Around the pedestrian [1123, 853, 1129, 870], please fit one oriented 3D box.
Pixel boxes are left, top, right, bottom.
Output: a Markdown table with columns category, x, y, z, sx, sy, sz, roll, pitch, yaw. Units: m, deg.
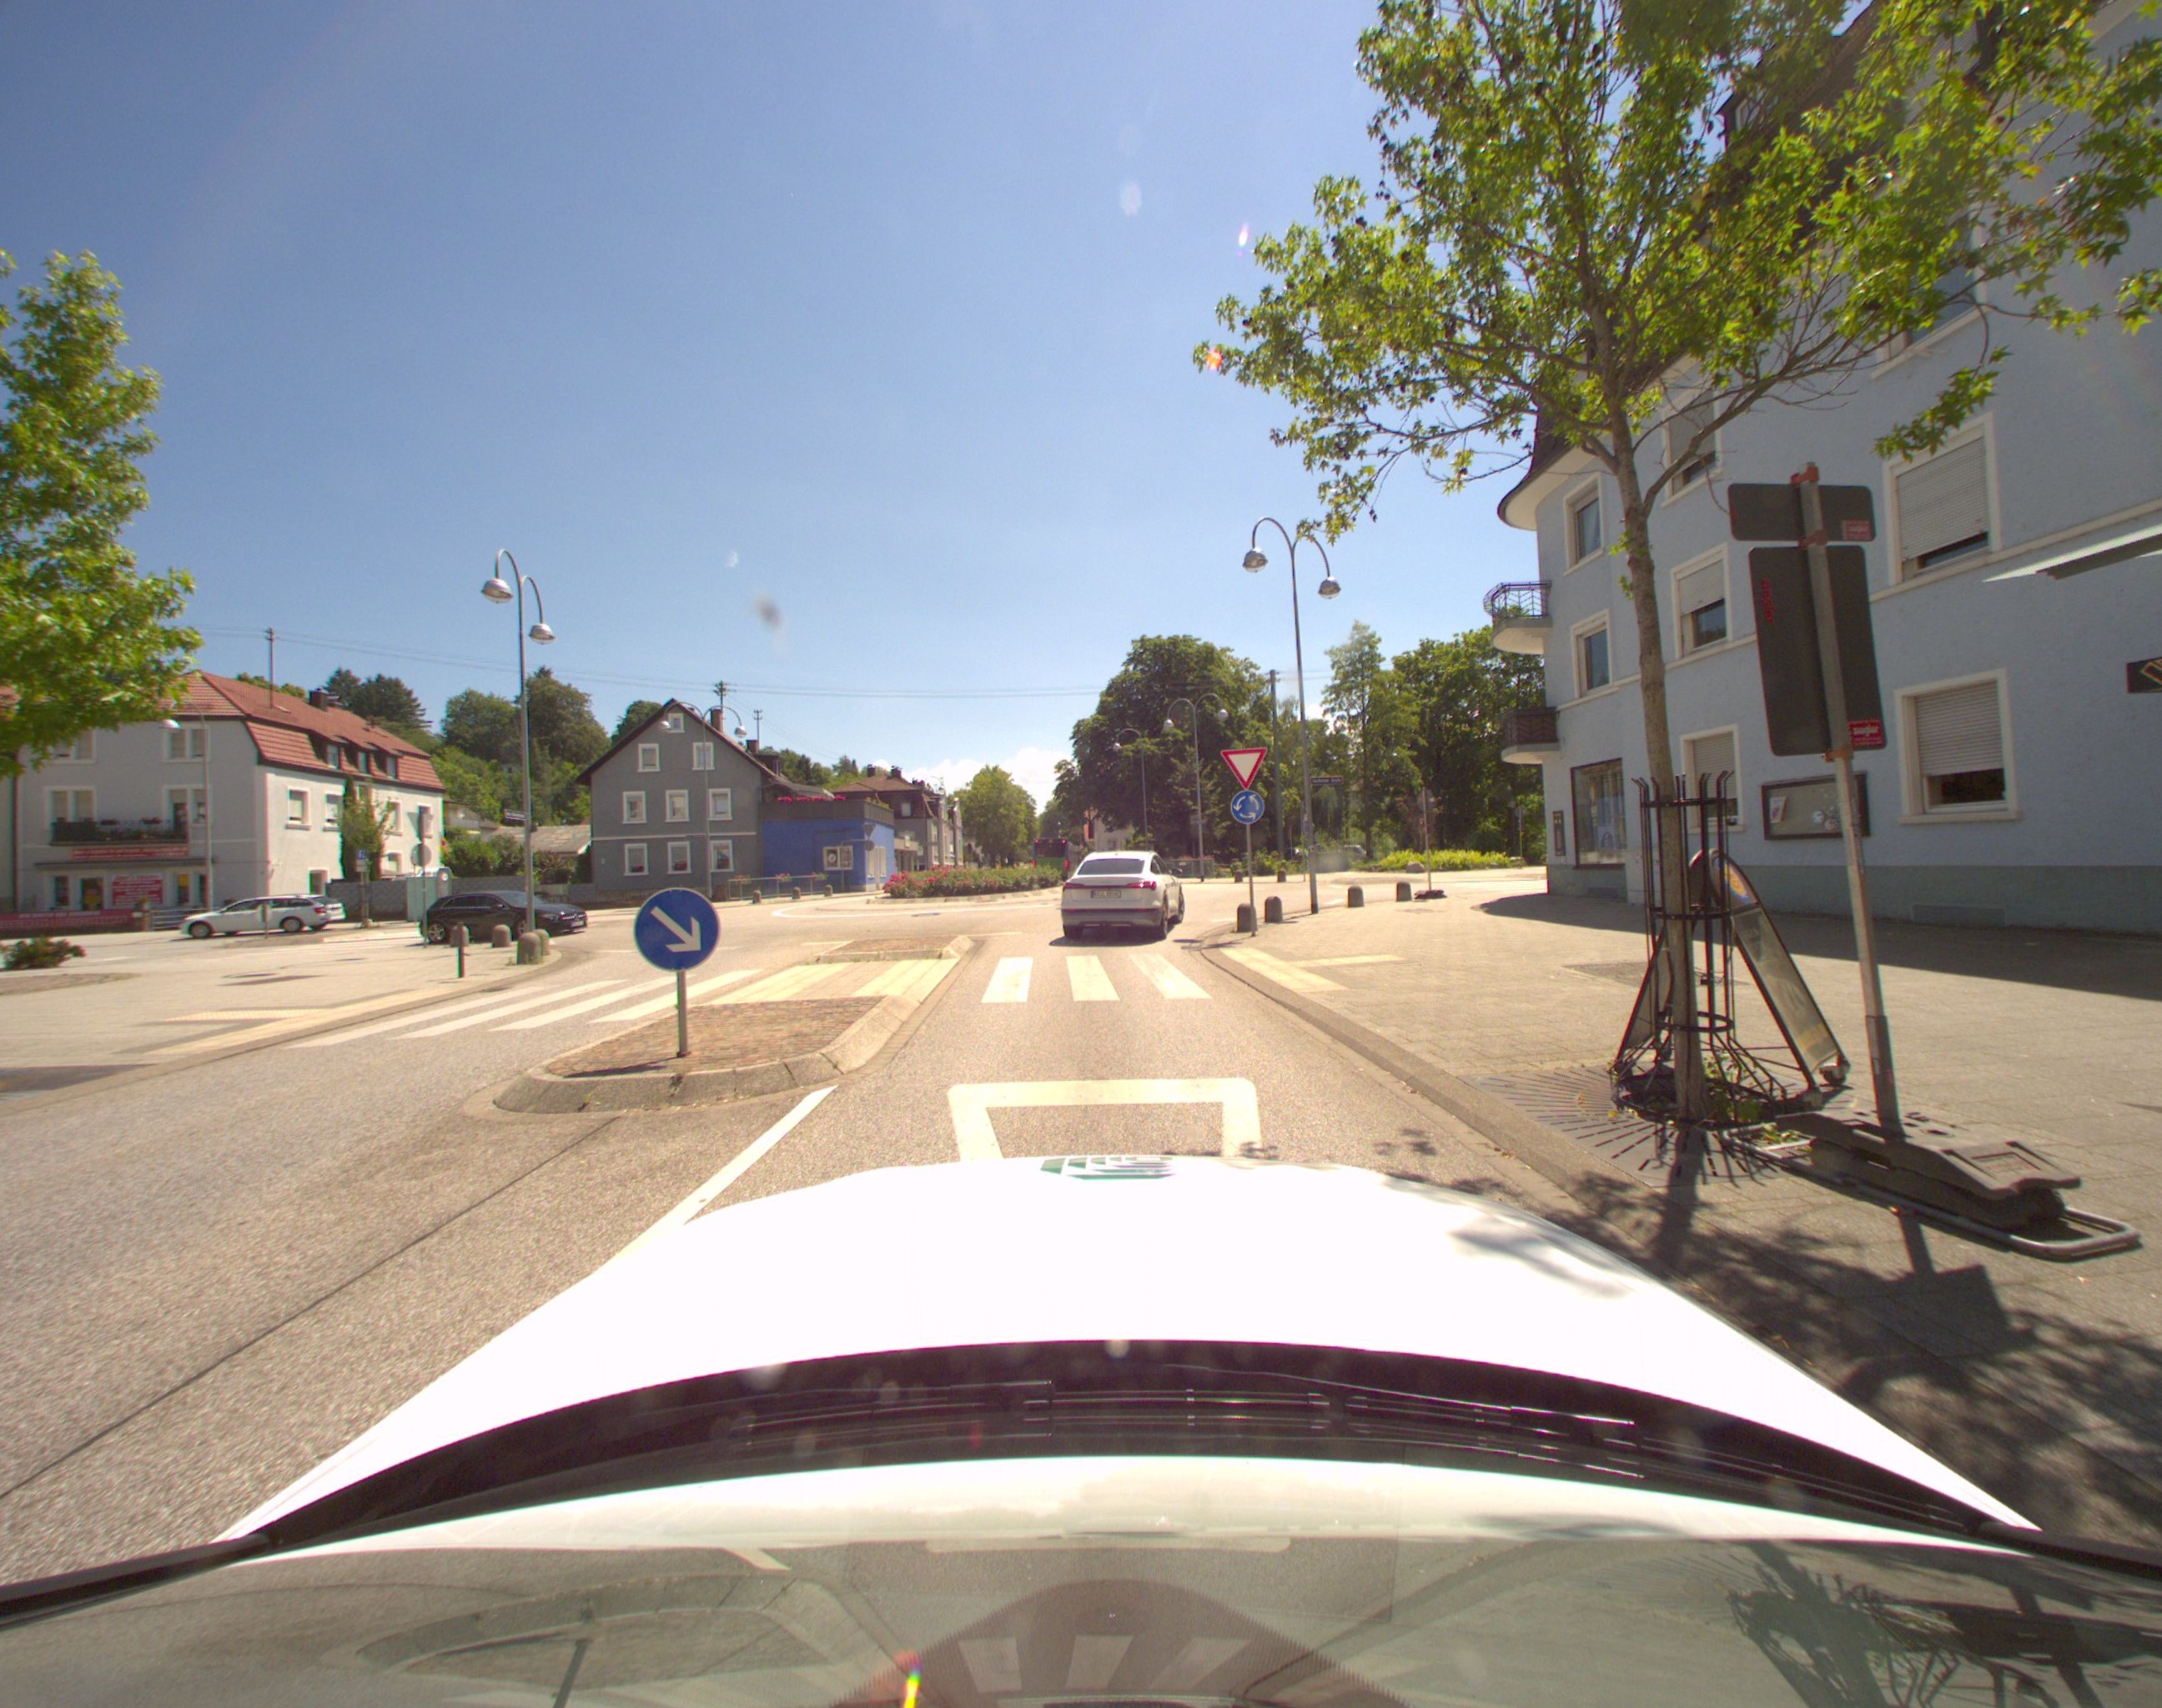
| category | x | y | z | sx | sy | sz | roll | pitch | yaw |
| --- | --- | --- | --- | --- | --- | --- | --- | --- | --- |
| pedestrian | 4.240 | 0.699 | 76.550 | 0.488 | 1.522 | 0.541 | -2 | 0 | -7 |

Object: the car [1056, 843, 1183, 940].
| category | x | y | z | sx | sy | sz | roll | pitch | yaw |
| --- | --- | --- | --- | --- | --- | --- | --- | --- | --- |
| car | 0.933 | 0.636 | 16.555 | 1.886 | 1.662 | 4.424 | -1 | 1 | 11 |

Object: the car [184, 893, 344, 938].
| category | x | y | z | sx | sy | sz | roll | pitch | yaw |
| --- | --- | --- | --- | --- | --- | --- | --- | --- | --- |
| car | -31.835 | 2.369 | 31.872 | 4.077 | 1.391 | 1.599 | -2 | 2 | -19 |

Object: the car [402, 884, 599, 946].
| category | x | y | z | sx | sy | sz | roll | pitch | yaw |
| --- | --- | --- | --- | --- | --- | --- | --- | --- | --- |
| car | -16.899 | 1.753 | 23.867 | 4.408 | 1.457 | 1.769 | -3 | 1 | 1 |

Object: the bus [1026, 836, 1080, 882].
| category | x | y | z | sx | sy | sz | roll | pitch | yaw |
| --- | --- | --- | --- | --- | --- | --- | --- | --- | --- |
| bus | -1.929 | 0.452 | 65.363 | 3.694 | 3.171 | 18.064 | -1 | -1 | 0 |

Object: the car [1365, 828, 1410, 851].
| category | x | y | z | sx | sy | sz | roll | pitch | yaw |
| --- | --- | --- | --- | --- | --- | --- | --- | --- | --- |
| car | 30.244 | -1.432 | 80.333 | 3.951 | 2.013 | 2.012 | -3 | 0 | 24 |

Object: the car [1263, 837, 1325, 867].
| category | x | y | z | sx | sy | sz | roll | pitch | yaw |
| --- | --- | --- | --- | --- | --- | --- | --- | --- | --- |
| car | 16.009 | -0.136 | 61.281 | 2.011 | 2.013 | 3.952 | -2 | 0 | -42 |

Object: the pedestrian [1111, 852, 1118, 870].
| category | x | y | z | sx | sy | sz | roll | pitch | yaw |
| --- | --- | --- | --- | --- | --- | --- | --- | --- | --- |
| pedestrian | 3.135 | 0.691 | 75.611 | 0.502 | 1.650 | 0.578 | -2 | 0 | -7 |

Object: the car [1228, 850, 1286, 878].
| category | x | y | z | sx | sy | sz | roll | pitch | yaw |
| --- | --- | --- | --- | --- | --- | --- | --- | --- | --- |
| car | 10.831 | 0.624 | 50.167 | 3.055 | 1.552 | 1.626 | -3 | 0 | -15 |
